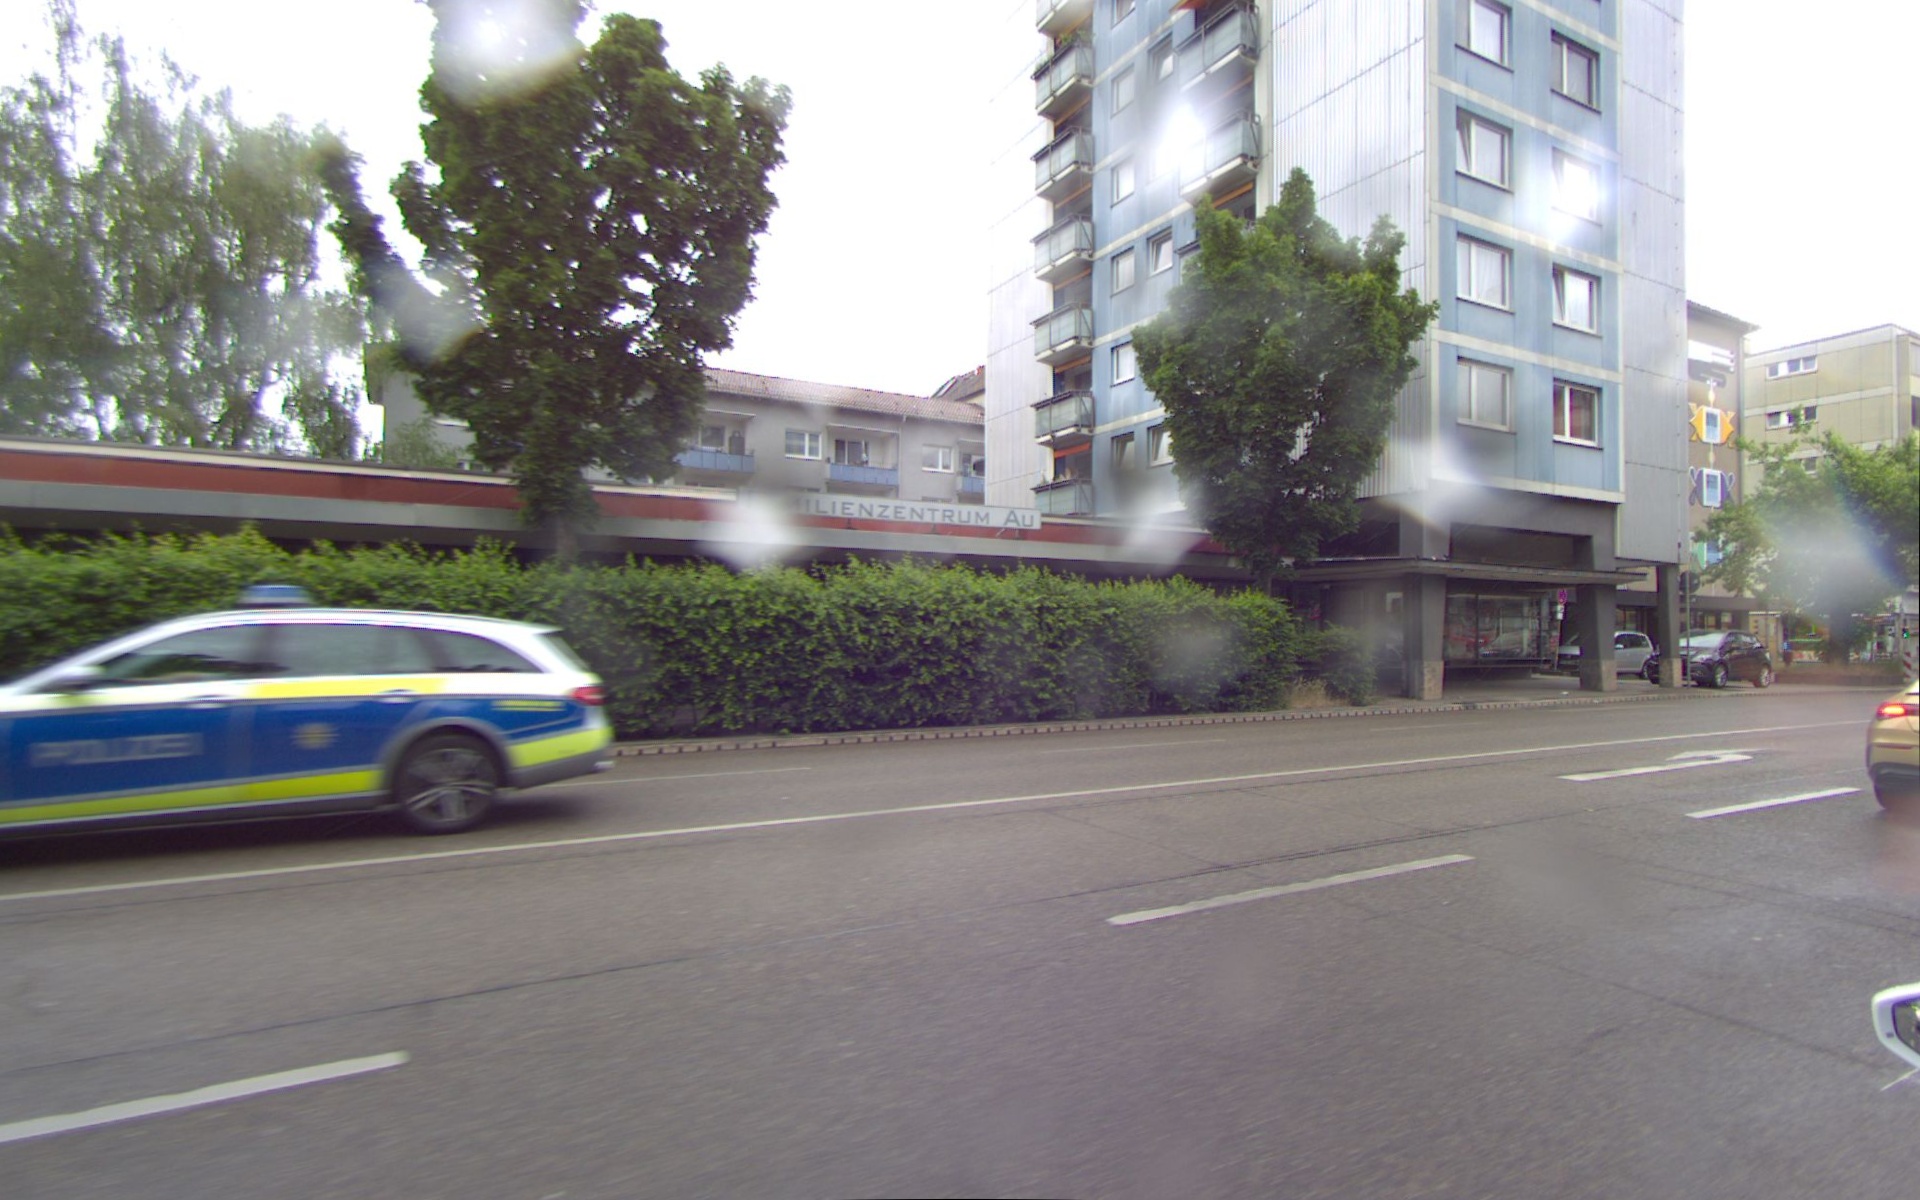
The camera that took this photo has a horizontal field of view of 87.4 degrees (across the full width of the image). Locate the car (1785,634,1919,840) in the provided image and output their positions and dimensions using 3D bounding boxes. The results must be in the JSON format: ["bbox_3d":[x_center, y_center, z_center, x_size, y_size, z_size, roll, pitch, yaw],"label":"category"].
[{"bbox_3d":[9.018,1.024,8.205,4.531,1.483,2.057,1,-2,-30],"label":"car"}]

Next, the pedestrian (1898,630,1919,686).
[{"bbox_3d":[35.195,2.130,36.855,0.879,2.040,0.933,2,-4,-39],"label":"pedestrian"}]

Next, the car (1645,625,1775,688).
[{"bbox_3d":[22.024,1.625,29.461,4.236,1.728,1.532,1,-1,-30],"label":"car"}]

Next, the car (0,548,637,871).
[{"bbox_3d":[-4.877,0.656,6.909,4.751,1.773,1.984,1,-3,-30],"label":"car"}]

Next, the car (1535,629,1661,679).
[{"bbox_3d":[22.494,1.875,35.365,4.459,1.676,1.984,2,-2,-31],"label":"car"}]
